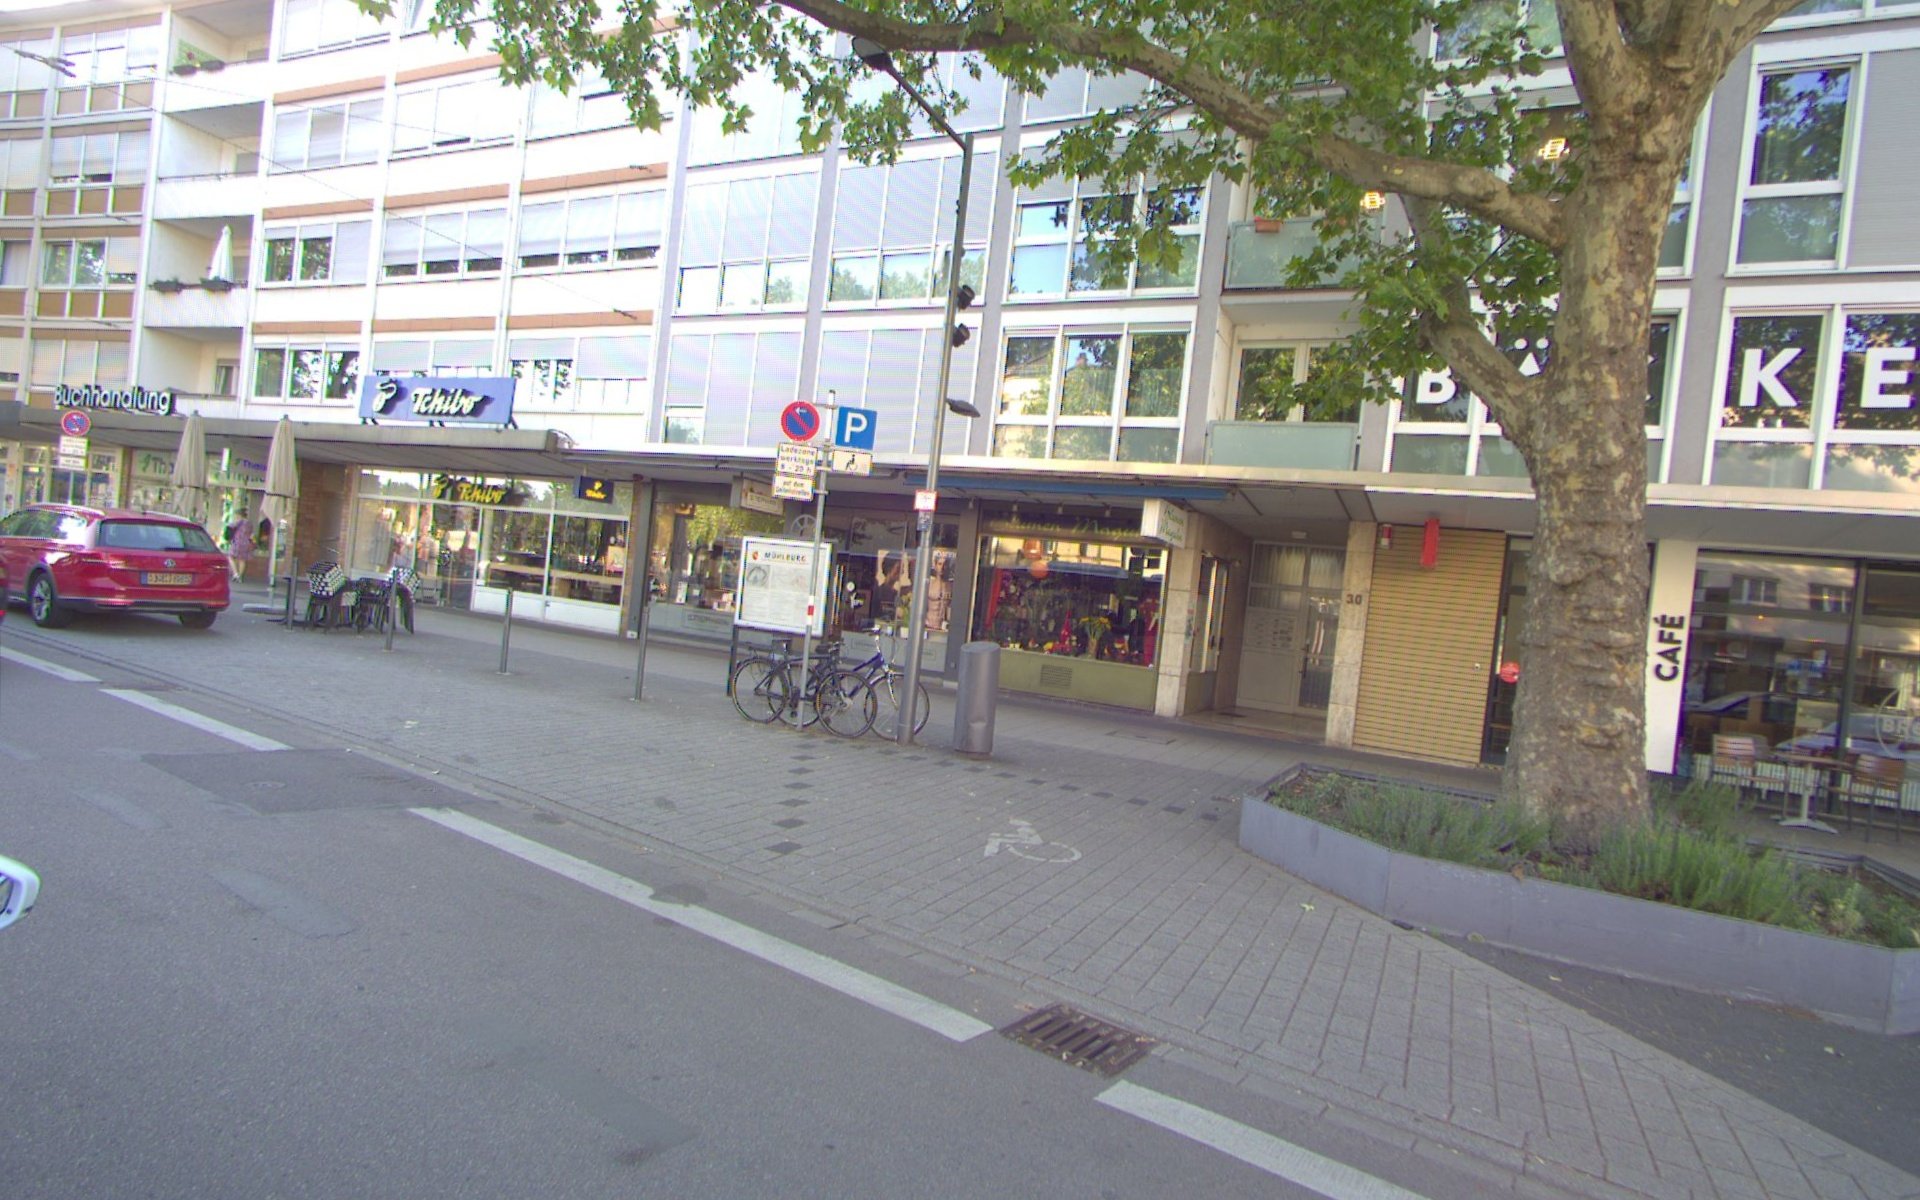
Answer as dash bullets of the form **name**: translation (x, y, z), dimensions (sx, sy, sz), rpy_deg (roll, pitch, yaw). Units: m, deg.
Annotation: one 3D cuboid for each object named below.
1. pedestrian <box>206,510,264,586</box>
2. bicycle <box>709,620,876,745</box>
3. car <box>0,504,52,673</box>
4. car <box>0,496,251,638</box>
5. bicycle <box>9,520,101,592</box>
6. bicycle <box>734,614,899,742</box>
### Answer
- **pedestrian**: translation (-16.193, -1.160, 22.468), dimensions (0.793, 1.571, 0.641), rpy_deg (7, 1, 24)
- **bicycle**: translation (-1.748, 0.835, 10.416), dimensions (1.686, 1.055, 0.294), rpy_deg (6, 4, 17)
- **car**: translation (-10.521, -0.343, 9.322), dimensions (4.001, 1.491, 1.808), rpy_deg (6, -1, 29)
- **car**: translation (-11.751, -0.506, 13.496), dimensions (4.488, 1.516, 1.780), rpy_deg (6, 2, 28)
- **bicycle**: translation (-15.780, -0.774, 17.540), dimensions (1.631, 1.085, 0.512), rpy_deg (7, 3, 22)
- **bicycle**: translation (-1.530, 0.804, 10.643), dimensions (1.686, 1.116, 0.294), rpy_deg (6, 4, 17)
